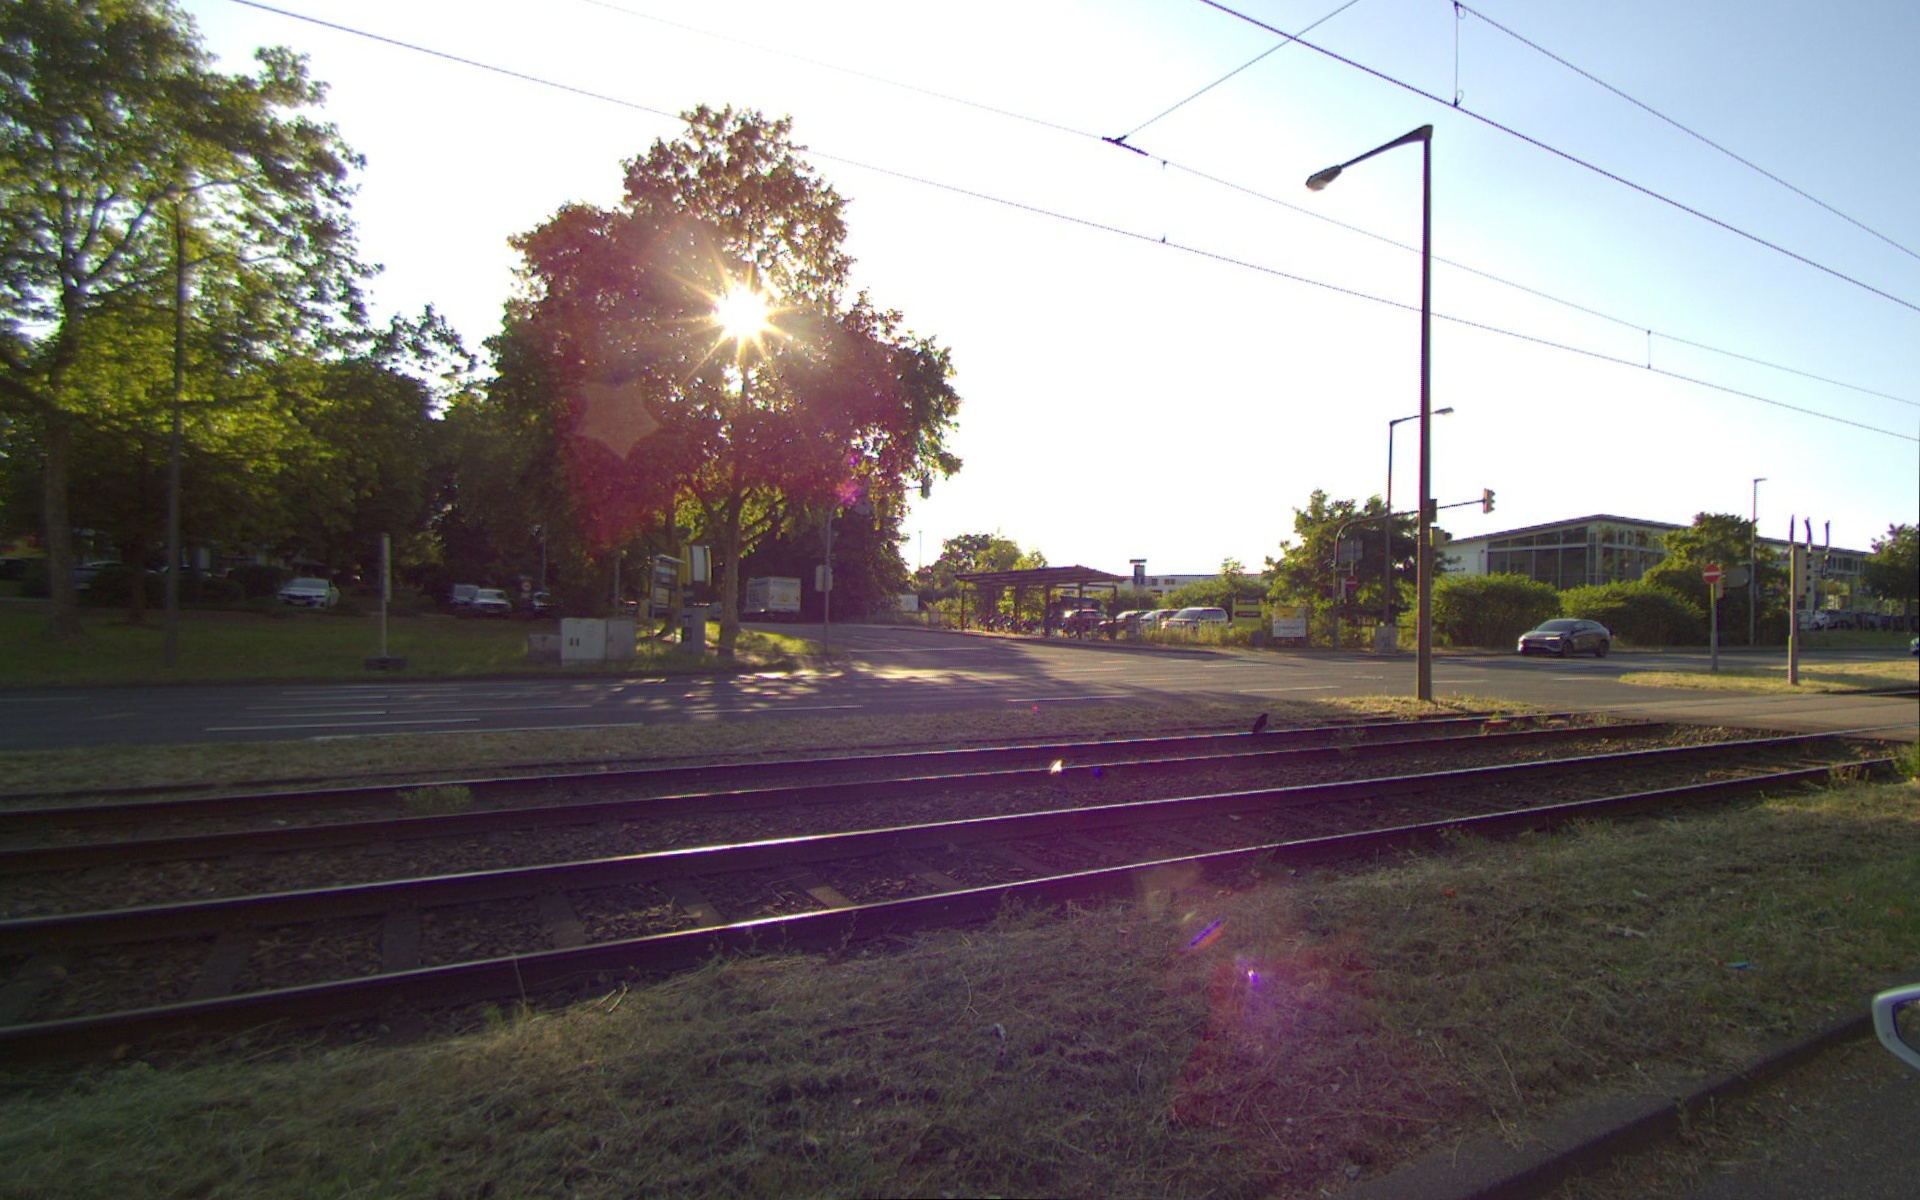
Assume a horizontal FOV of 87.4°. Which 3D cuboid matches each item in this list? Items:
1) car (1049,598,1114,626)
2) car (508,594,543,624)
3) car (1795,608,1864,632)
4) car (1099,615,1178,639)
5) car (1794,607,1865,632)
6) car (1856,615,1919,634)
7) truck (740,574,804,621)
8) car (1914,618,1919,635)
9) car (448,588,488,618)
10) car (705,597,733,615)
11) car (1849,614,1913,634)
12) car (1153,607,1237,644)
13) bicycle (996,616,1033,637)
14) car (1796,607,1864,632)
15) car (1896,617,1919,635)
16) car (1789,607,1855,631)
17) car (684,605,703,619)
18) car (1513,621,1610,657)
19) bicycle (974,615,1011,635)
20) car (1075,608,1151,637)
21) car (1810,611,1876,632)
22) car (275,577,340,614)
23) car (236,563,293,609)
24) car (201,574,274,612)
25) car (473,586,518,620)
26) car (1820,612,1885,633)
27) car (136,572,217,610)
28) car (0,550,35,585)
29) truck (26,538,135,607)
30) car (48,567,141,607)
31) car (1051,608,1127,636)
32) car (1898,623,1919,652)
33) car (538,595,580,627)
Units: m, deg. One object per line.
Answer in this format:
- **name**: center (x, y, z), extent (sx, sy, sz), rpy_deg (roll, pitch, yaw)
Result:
- **car**: center (9.277, 0.946, 76.661), extent (4.715, 2.041, 1.853), rpy_deg (1, 0, -30)
- **car**: center (-26.231, 0.520, 60.704), extent (1.836, 1.637, 4.036), rpy_deg (2, 0, -23)
- **car**: center (66.715, 1.496, 77.171), extent (3.940, 1.727, 1.735), rpy_deg (1, 0, 40)
- **car**: center (9.930, 1.494, 55.864), extent (4.123, 1.284, 1.853), rpy_deg (1, 0, -30)
- **car**: center (65.169, 1.445, 75.371), extent (3.940, 1.727, 1.735), rpy_deg (1, 0, 40)
- **car**: center (81.755, 2.156, 88.511), extent (1.728, 1.576, 3.957), rpy_deg (1, 0, -37)
- **truck**: center (-15.058, -0.211, 79.785), extent (2.782, 3.520, 8.291), rpy_deg (1, 0, -27)
- **car**: center (91.287, 2.505, 93.023), extent (1.725, 1.642, 3.962), rpy_deg (1, 0, -34)
- **car**: center (-28.582, 0.143, 58.489), extent (1.836, 1.637, 4.036), rpy_deg (2, 0, -23)
- **car**: center (-22.798, 0.581, 94.972), extent (1.711, 1.603, 4.028), rpy_deg (1, 0, -27)
- **car**: center (79.603, 2.068, 86.893), extent (3.940, 1.577, 1.735), rpy_deg (1, 0, 40)
- **car**: center (12.353, 1.333, 52.733), extent (4.123, 1.846, 1.853), rpy_deg (1, 0, -30)
- **bicycle**: center (3.060, 1.483, 56.409), extent (2.004, 1.119, 0.777), rpy_deg (2, 0, -30)
- **car**: center (68.353, 1.494, 78.983), extent (3.940, 1.840, 1.735), rpy_deg (1, 0, 40)
- **car**: center (88.371, 2.388, 91.744), extent (1.725, 1.642, 3.962), rpy_deg (1, 0, -34)
- **car**: center (69.315, 1.512, 80.828), extent (3.940, 1.840, 1.735), rpy_deg (1, 0, 40)
- **car**: center (-33.265, 1.498, 125.400), extent (1.887, 1.602, 4.036), rpy_deg (2, 0, -21)
- **car**: center (26.512, 1.694, 44.277), extent (4.120, 1.501, 1.854), rpy_deg (1, 0, -29)
- **bicycle**: center (1.919, 1.461, 59.045), extent (2.004, 1.119, 0.777), rpy_deg (2, 0, -30)
- **car**: center (8.811, 1.292, 57.795), extent (4.123, 1.604, 1.853), rpy_deg (1, 0, -30)
- **car**: center (71.978, 1.750, 81.944), extent (3.940, 1.577, 1.735), rpy_deg (1, 0, 40)
- **car**: center (-29.441, -0.205, 45.432), extent (1.916, 1.530, 4.071), rpy_deg (2, 0, -26)
- **car**: center (-37.306, -0.733, 54.001), extent (2.138, 2.334, 4.369), rpy_deg (2, 0, -31)
- **car**: center (-32.122, -0.305, 44.750), extent (1.916, 1.530, 4.071), rpy_deg (2, 0, -26)
- **car**: center (-22.944, 0.124, 49.583), extent (1.916, 1.530, 4.071), rpy_deg (2, 0, -26)
- **car**: center (74.198, 1.846, 83.612), extent (3.940, 1.577, 1.735), rpy_deg (1, 0, 40)
- **car**: center (-33.965, -0.378, 43.678), extent (1.916, 1.530, 4.071), rpy_deg (2, 0, -26)
- **car**: center (-53.869, -1.861, 56.375), extent (2.274, 1.875, 5.220), rpy_deg (2, 0, -36)
- **truck**: center (-44.522, -1.323, 51.058), extent (2.468, 3.209, 6.187), rpy_deg (2, 0, -26)
- **car**: center (-36.096, -0.540, 42.014), extent (1.916, 1.530, 4.071), rpy_deg (2, 0, -26)
- **car**: center (7.707, 1.299, 59.990), extent (4.123, 1.604, 1.968), rpy_deg (1, 0, -30)
- **car**: center (52.885, 2.028, 54.193), extent (4.034, 1.501, 1.857), rpy_deg (1, 0, -24)
- **car**: center (-20.449, 0.536, 51.133), extent (1.604, 1.477, 3.878), rpy_deg (2, 0, -27)
